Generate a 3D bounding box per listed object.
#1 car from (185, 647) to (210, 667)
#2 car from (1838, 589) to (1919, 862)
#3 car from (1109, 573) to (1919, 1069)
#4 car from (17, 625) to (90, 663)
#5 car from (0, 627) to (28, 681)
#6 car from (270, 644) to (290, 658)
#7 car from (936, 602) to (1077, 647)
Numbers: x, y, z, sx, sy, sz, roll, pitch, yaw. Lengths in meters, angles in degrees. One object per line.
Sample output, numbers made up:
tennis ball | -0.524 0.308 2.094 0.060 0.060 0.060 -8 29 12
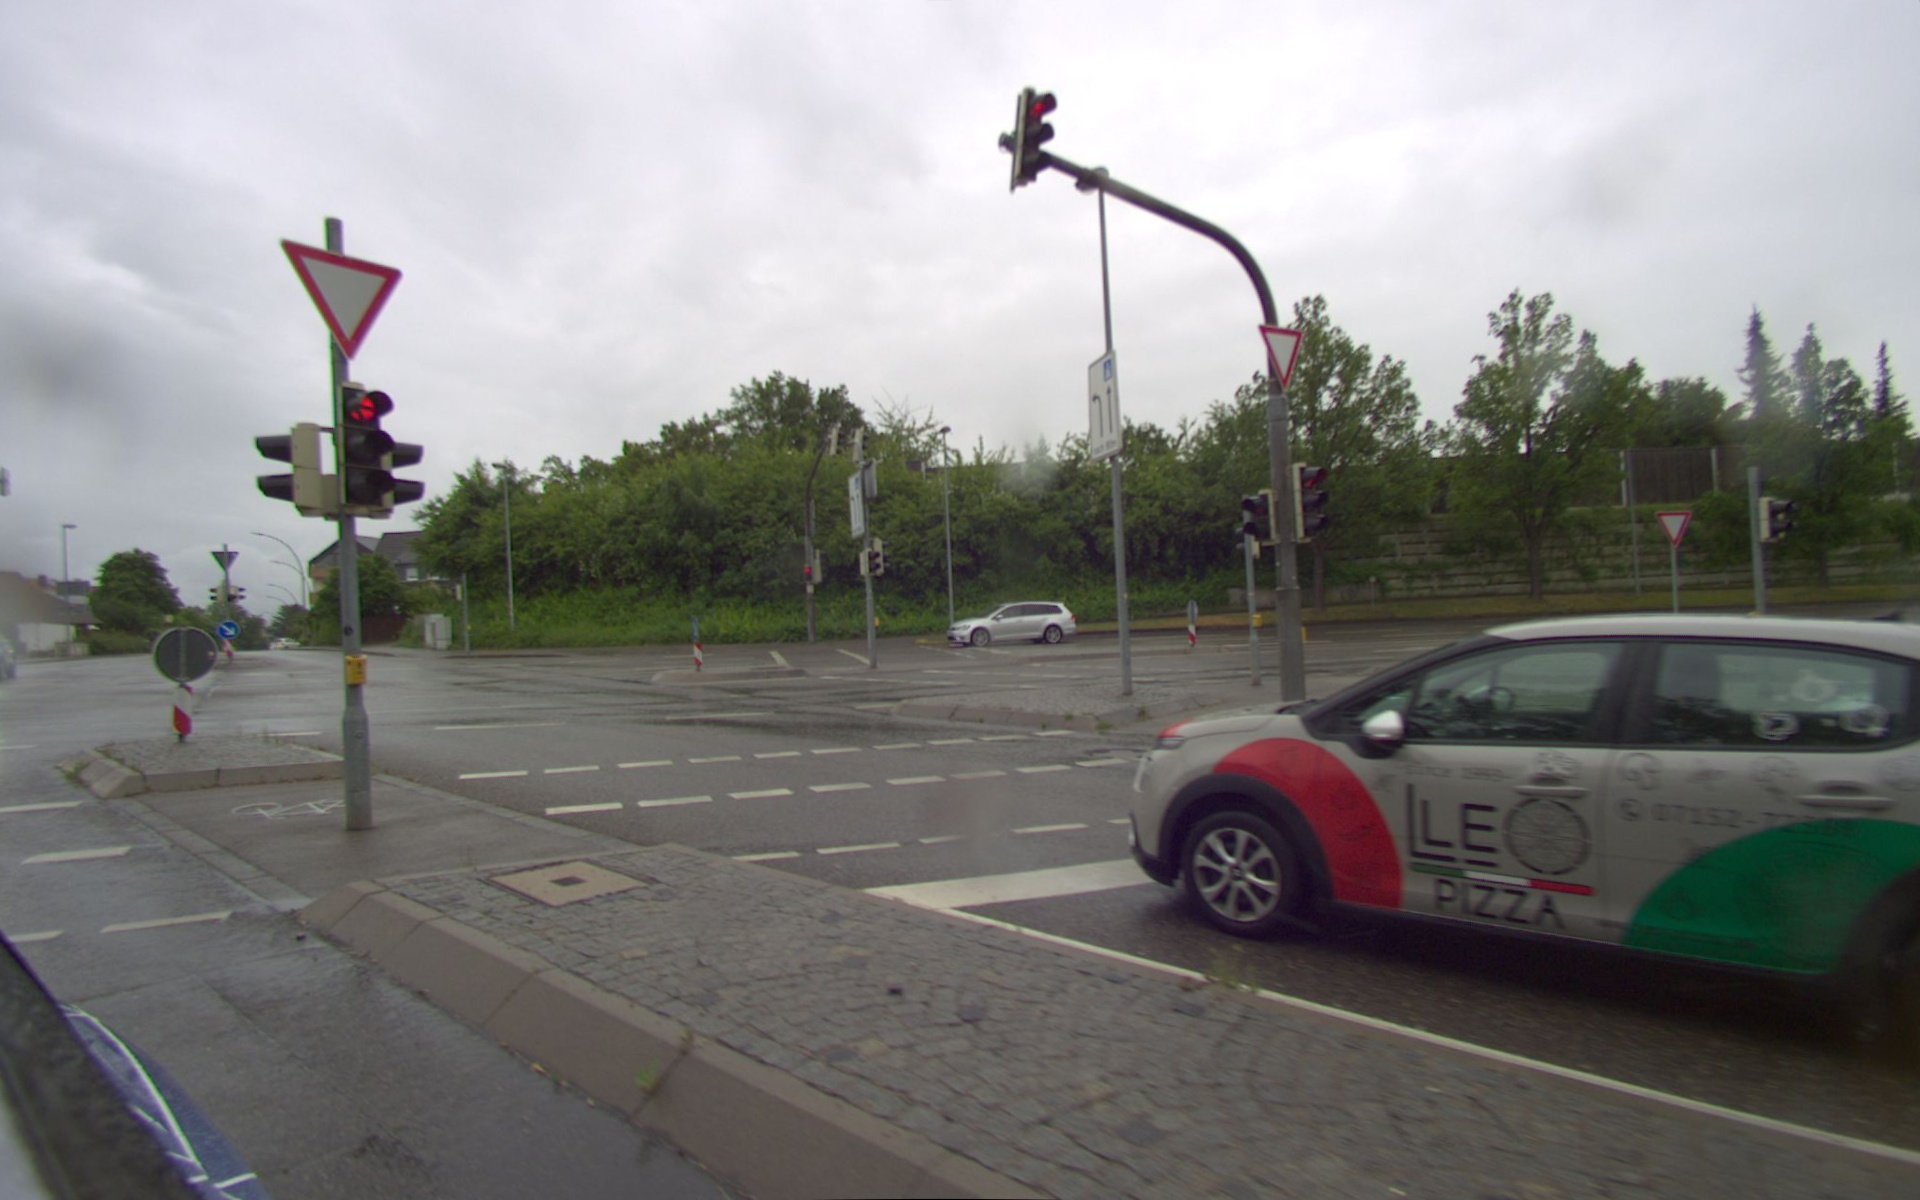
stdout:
car | -67.189 5.007 89.133 1.730 1.568 3.928 -2 -1 -38
car | 7.139 0.658 5.146 3.998 1.506 1.702 -2 0 41
car | 2.784 0.679 4.276 3.998 1.506 1.644 -2 0 41
car | -61.296 2.944 68.499 1.629 2.368 4.005 -2 -1 -6
car | -28.175 1.582 28.807 1.868 1.494 4.010 -1 -2 -35
car | -76.834 5.718 114.387 1.599 1.516 3.830 1 -2 -38
car | 1.574 0.822 34.551 4.456 1.373 1.767 -1 -1 -14
